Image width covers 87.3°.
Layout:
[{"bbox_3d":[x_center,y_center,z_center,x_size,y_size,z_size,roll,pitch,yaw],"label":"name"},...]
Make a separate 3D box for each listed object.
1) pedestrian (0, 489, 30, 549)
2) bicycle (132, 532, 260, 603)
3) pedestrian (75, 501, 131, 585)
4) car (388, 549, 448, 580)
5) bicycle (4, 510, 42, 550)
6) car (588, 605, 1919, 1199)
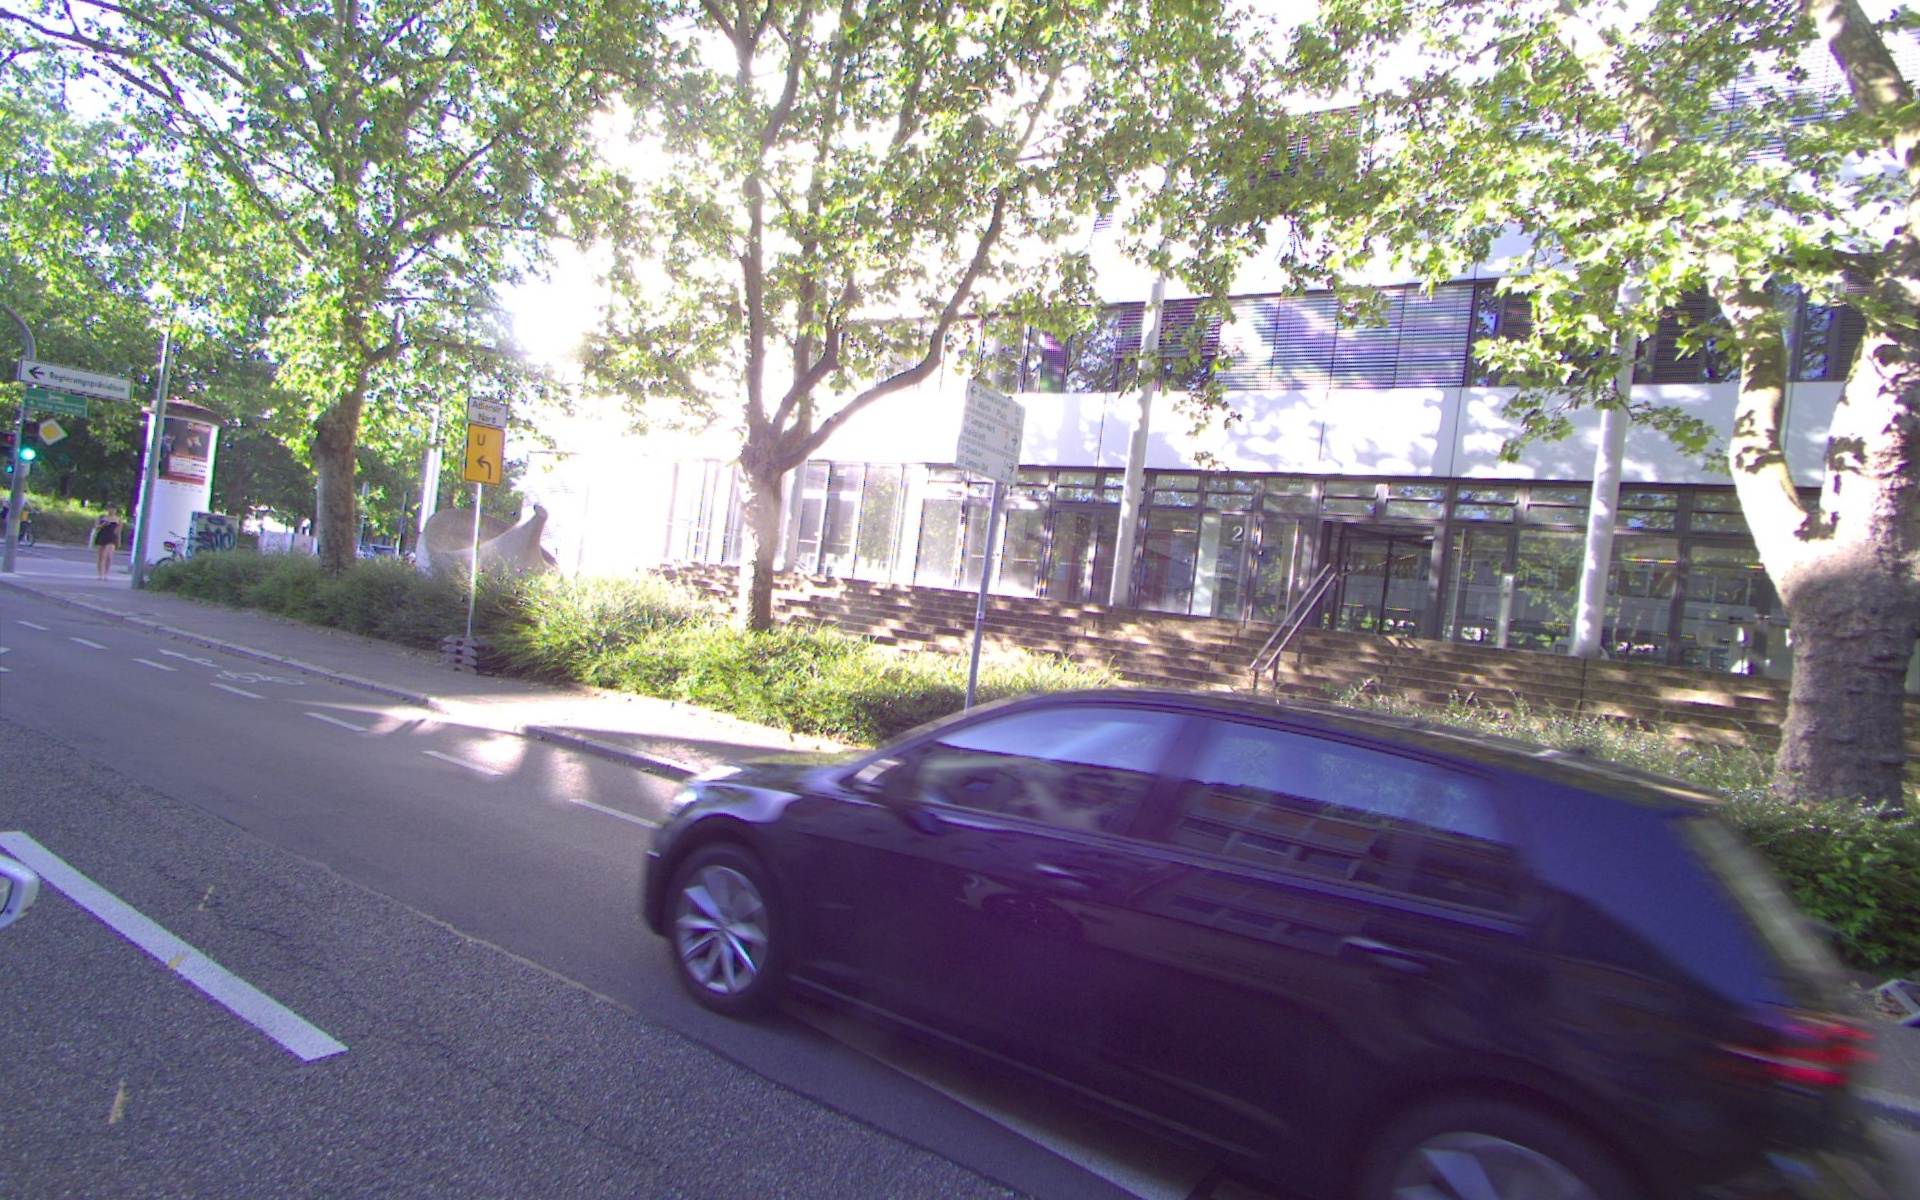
[{"bbox_3d":[-29.421,-2.504,31.085,0.956,1.717,0.683,6,-1,38],"label":"pedestrian"},{"bbox_3d":[-15.938,-0.653,21.055,0.519,1.203,1.980,7,-2,30],"label":"bicycle"},{"bbox_3d":[-18.227,-1.207,21.398,0.795,1.651,0.897,5,1,-41],"label":"pedestrian"},{"bbox_3d":[-35.563,-2.331,65.969,3.732,1.500,1.633,6,-2,31],"label":"car"},{"bbox_3d":[-29.237,-2.199,31.371,1.716,1.113,0.524,6,-2,39],"label":"bicycle"},{"bbox_3d":[0.652,1.012,3.668,3.839,1.456,1.693,6,-3,34],"label":"car"}]
